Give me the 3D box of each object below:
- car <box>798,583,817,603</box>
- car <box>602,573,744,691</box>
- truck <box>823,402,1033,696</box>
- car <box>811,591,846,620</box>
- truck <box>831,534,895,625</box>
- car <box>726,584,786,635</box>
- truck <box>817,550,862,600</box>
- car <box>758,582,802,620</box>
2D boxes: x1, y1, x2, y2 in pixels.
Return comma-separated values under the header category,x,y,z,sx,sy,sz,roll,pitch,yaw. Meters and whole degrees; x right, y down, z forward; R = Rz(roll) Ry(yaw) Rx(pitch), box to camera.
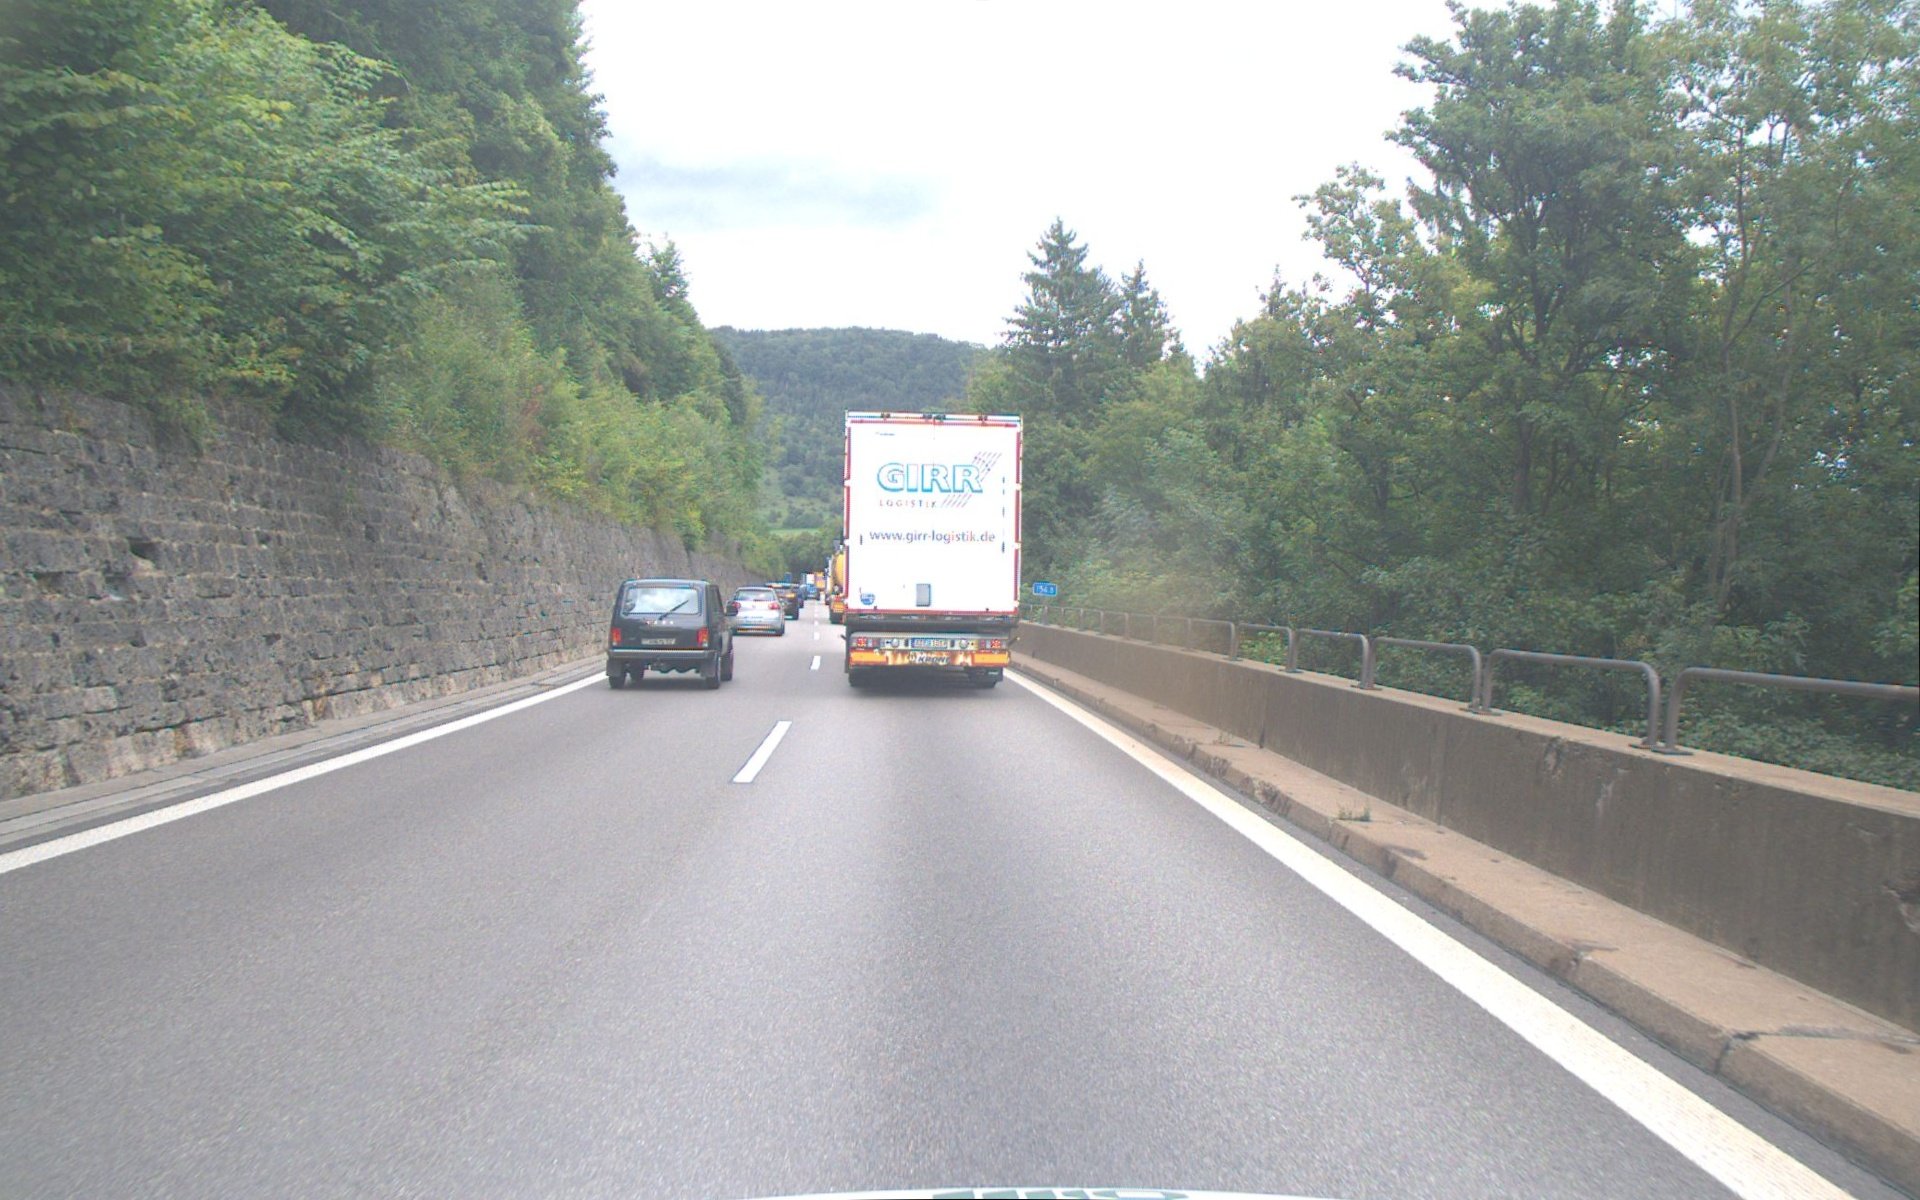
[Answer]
category,x,y,z,sx,sy,sz,roll,pitch,yaw
car,-16.478,-0.760,178.863,1.954,2.049,3.997,2,-1,-4
car,-4.380,0.468,25.795,1.635,1.667,4.066,1,0,-2
truck,-0.589,-0.721,27.619,2.850,4.030,9.275,1,0,-2
car,-9.410,0.413,118.964,1.952,2.049,4.001,1,-1,3
truck,-4.280,-0.840,71.505,2.438,3.634,9.298,1,0,-5
car,-6.290,0.283,51.307,1.695,1.512,3.996,1,0,-5
truck,-10.250,-2.078,141.711,3.441,3.914,11.769,2,-1,-3
car,-8.112,0.052,74.873,1.879,1.623,4.174,1,0,-5
